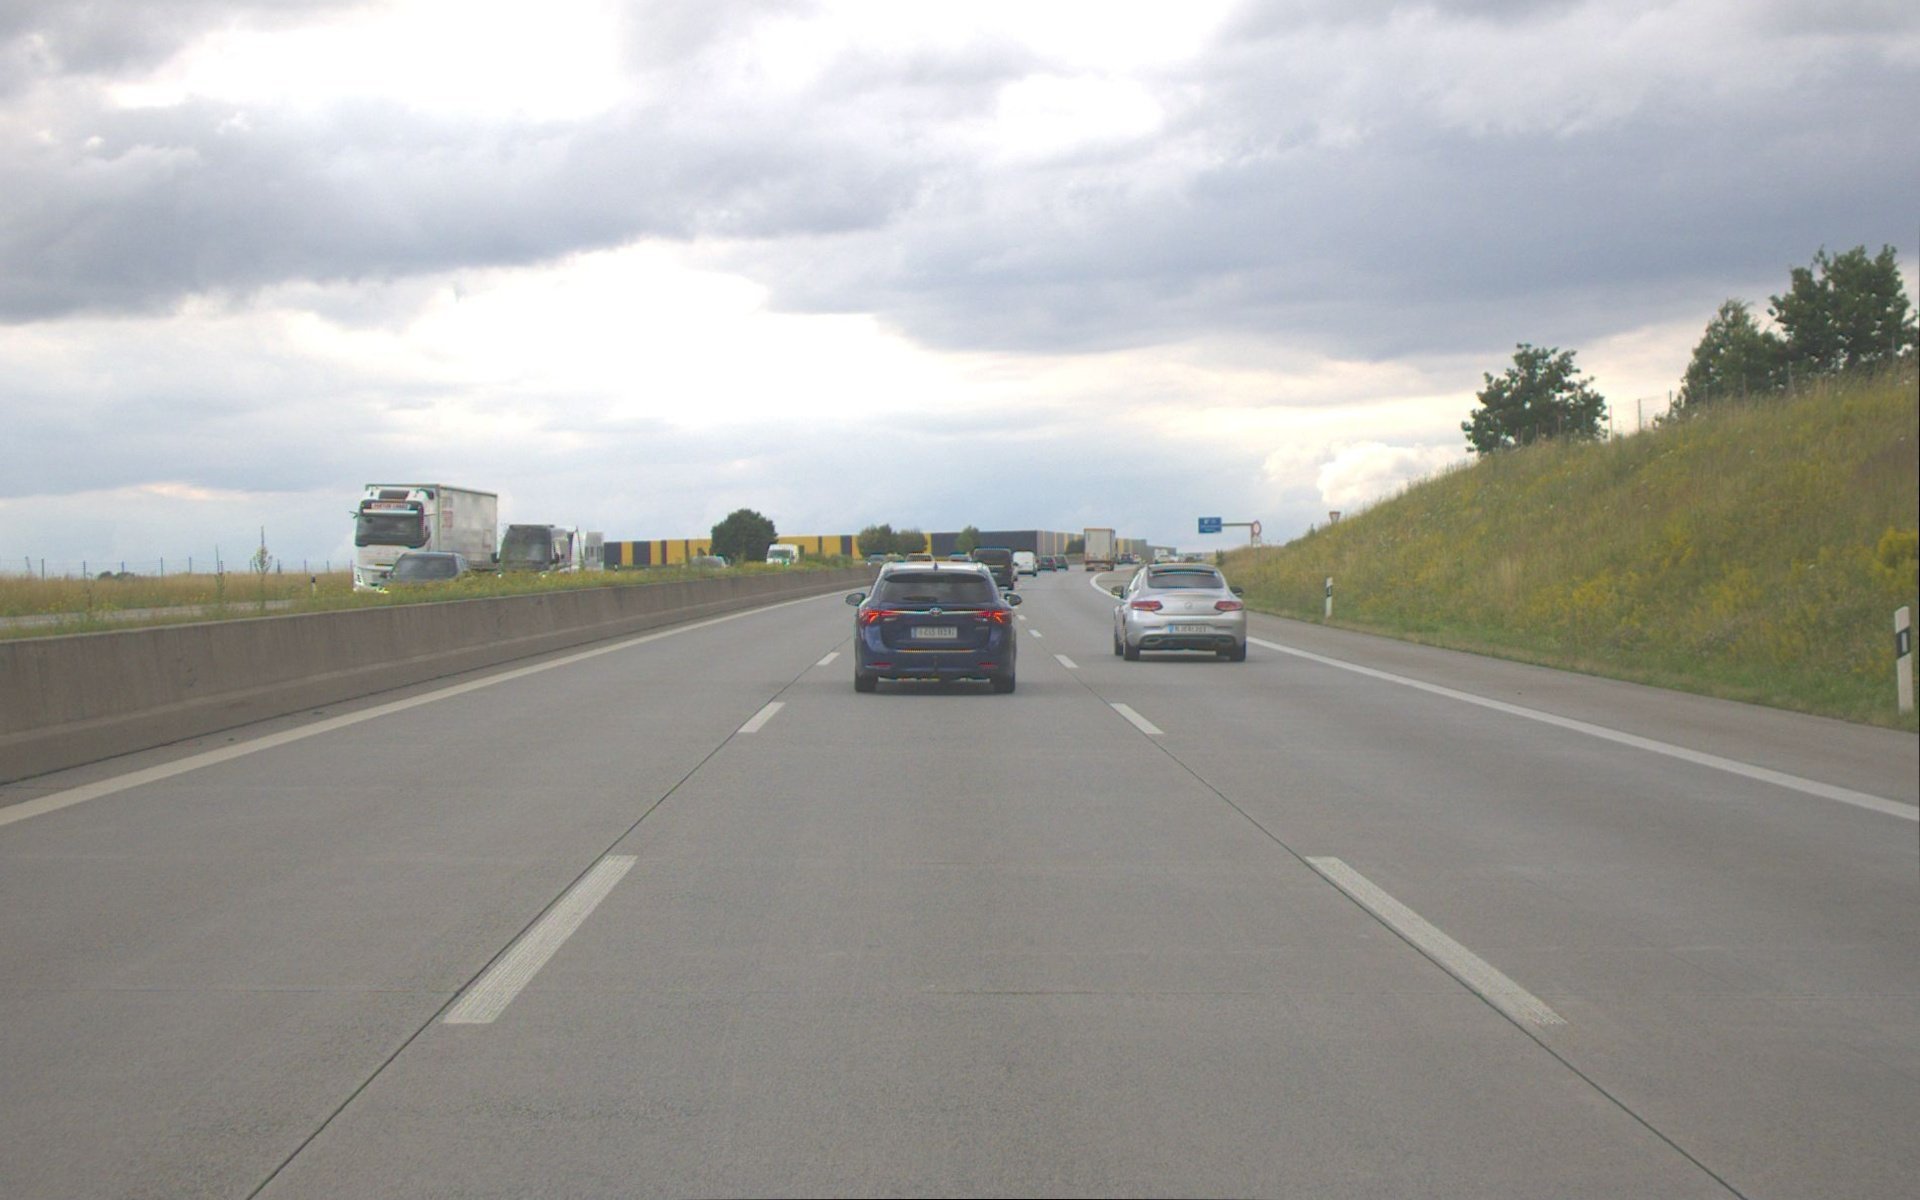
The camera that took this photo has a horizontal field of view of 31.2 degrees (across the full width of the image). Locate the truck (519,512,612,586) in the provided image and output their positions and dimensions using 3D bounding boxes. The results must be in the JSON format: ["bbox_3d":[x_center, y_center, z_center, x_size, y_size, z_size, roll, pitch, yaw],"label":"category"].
[{"bbox_3d":[-14.951,-1.932,130.668,2.615,2.716,6.919,1,1,1],"label":"truck"}]

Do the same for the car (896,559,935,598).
[{"bbox_3d":[-2.352,-1.116,181.272,2.046,2.007,4.000,1,0,-1],"label":"car"}]

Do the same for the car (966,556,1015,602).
[{"bbox_3d":[1.365,-0.932,154.450,1.993,2.007,4.000,1,0,-2],"label":"car"}]

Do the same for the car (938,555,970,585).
[{"bbox_3d":[-0.428,-2.090,238.698,1.993,2.007,4.000,1,0,-3],"label":"car"}]

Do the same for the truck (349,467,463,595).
[{"bbox_3d":[-19.043,-2.323,118.514,2.841,4.241,6.091,1,0,0],"label":"truck"}]

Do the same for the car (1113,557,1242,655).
[{"bbox_3d":[3.208,0.074,51.360,1.789,1.399,4.221,0,0,2],"label":"car"}]

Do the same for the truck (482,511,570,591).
[{"bbox_3d":[-15.369,-1.751,122.173,2.251,2.716,7.127,1,1,0],"label":"truck"}]

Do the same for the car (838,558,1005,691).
[{"bbox_3d":[-0.400,0.247,38.659,1.774,1.408,4.000,0,0,0],"label":"car"}]

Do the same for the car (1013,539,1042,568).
[{"bbox_3d":[4.980,-3.404,252.210,1.994,2.007,4.000,1,0,2],"label":"car"}]
